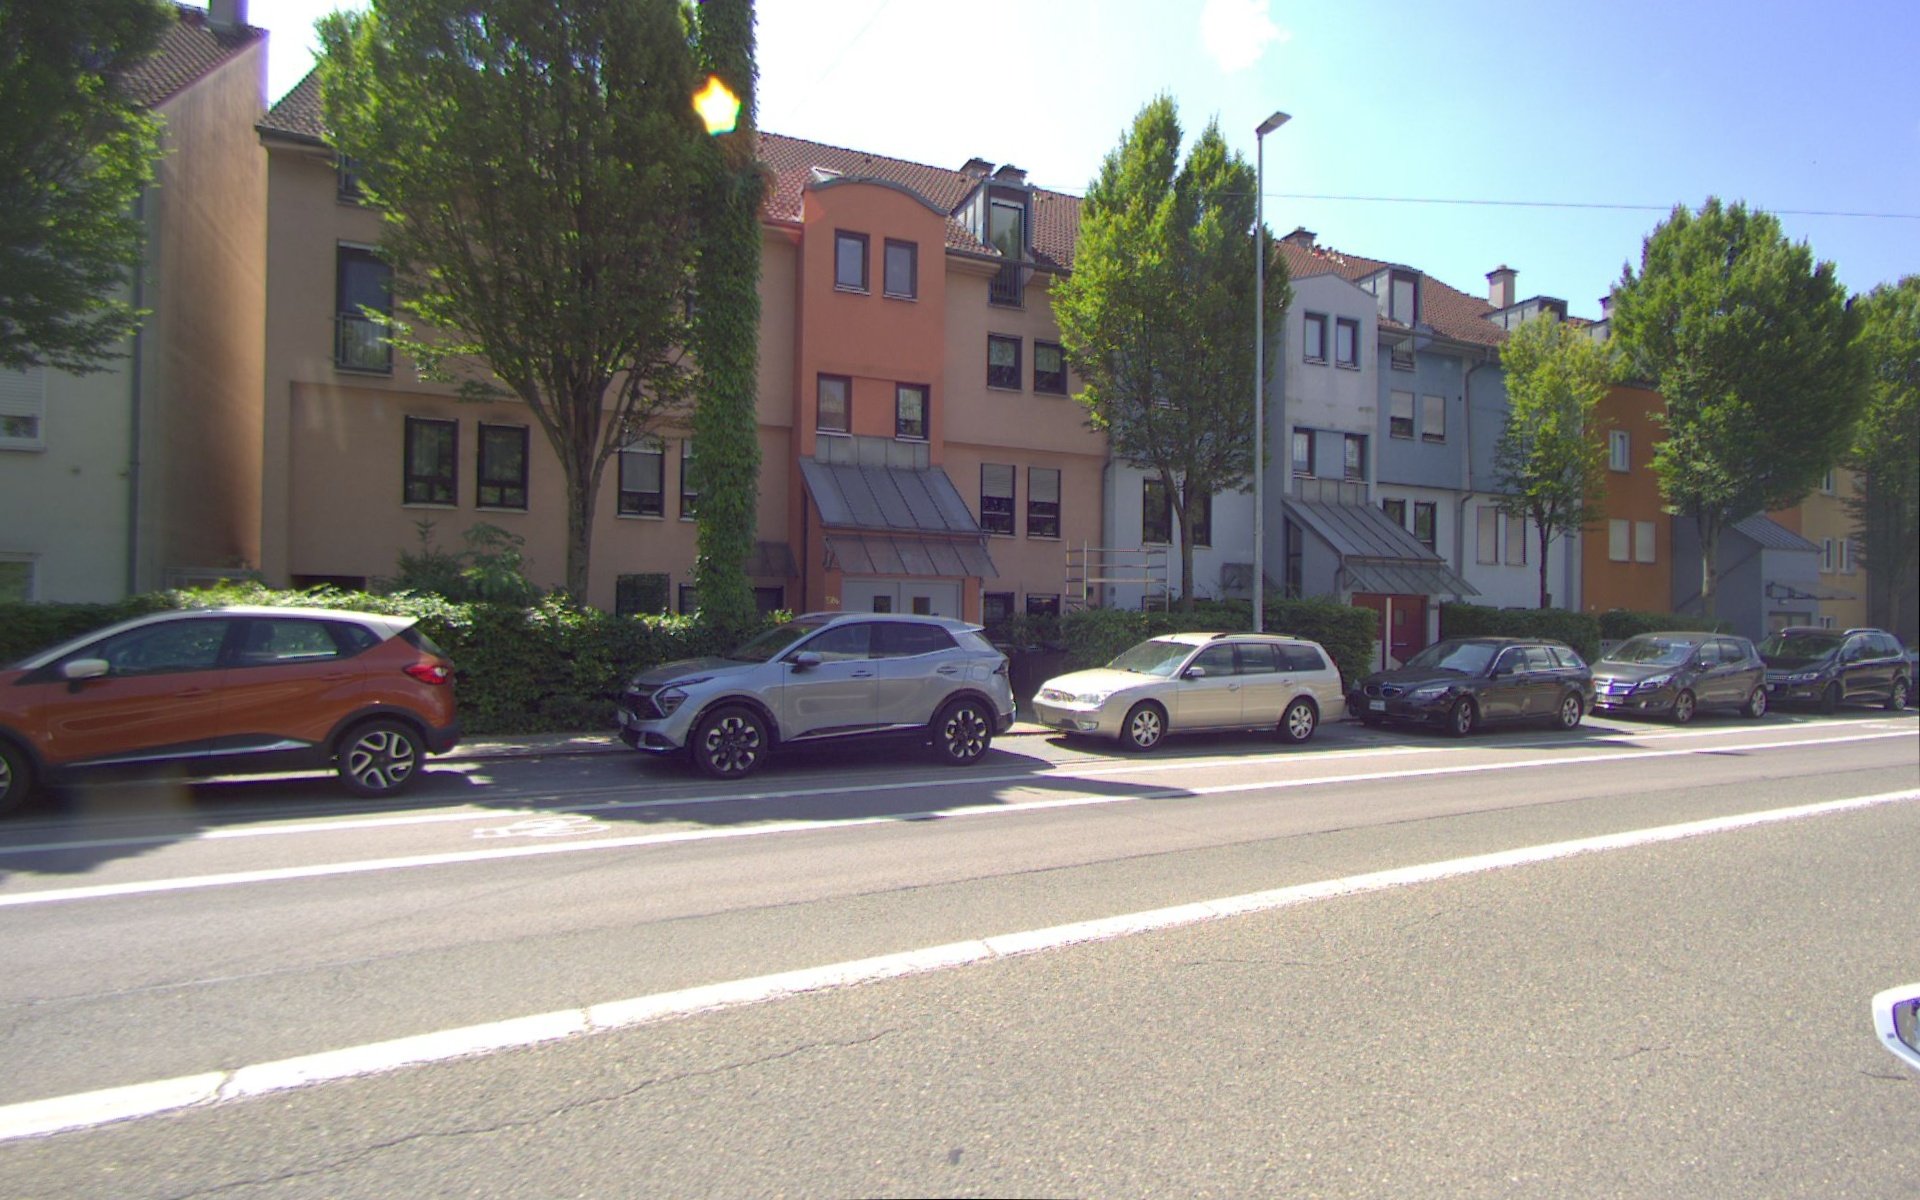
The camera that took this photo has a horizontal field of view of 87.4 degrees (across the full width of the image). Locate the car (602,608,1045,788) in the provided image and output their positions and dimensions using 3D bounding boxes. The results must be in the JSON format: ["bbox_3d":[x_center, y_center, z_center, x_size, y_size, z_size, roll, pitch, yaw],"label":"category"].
[{"bbox_3d":[-1.441,0.966,11.257,4.630,1.631,1.648,1,1,-29],"label":"car"}]

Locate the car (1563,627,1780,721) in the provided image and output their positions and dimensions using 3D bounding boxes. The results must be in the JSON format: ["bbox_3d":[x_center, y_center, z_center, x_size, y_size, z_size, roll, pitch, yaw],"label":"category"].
[{"bbox_3d":[13.754,1.369,19.383,4.229,1.639,1.650,1,-1,-27],"label":"car"}]

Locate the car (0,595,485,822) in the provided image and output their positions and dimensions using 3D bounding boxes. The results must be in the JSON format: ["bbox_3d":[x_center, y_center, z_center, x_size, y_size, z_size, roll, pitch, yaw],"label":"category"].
[{"bbox_3d":[-6.401,0.815,8.502,4.128,1.631,1.646,2,-1,-32],"label":"car"}]

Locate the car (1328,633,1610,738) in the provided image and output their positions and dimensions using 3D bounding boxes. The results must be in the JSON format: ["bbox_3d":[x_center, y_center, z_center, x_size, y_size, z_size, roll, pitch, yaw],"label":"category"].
[{"bbox_3d":[8.493,1.336,16.670,4.764,1.466,1.734,1,0,-28],"label":"car"}]

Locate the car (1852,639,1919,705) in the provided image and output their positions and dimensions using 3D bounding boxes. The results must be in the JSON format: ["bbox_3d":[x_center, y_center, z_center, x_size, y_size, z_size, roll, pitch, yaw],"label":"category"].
[{"bbox_3d":[23.424,1.694,24.132,4.034,1.490,1.593,1,-1,-26],"label":"car"}]

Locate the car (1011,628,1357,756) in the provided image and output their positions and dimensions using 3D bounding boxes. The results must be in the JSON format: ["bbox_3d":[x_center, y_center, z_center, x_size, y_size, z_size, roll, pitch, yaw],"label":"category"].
[{"bbox_3d":[3.196,1.171,13.999,4.835,1.528,1.649,1,-1,-28],"label":"car"}]

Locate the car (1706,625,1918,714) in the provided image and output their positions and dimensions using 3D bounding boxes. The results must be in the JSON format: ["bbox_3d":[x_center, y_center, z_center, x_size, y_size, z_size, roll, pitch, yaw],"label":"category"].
[{"bbox_3d":[18.390,1.423,21.653,4.824,1.739,1.745,1,-1,-27],"label":"car"}]
